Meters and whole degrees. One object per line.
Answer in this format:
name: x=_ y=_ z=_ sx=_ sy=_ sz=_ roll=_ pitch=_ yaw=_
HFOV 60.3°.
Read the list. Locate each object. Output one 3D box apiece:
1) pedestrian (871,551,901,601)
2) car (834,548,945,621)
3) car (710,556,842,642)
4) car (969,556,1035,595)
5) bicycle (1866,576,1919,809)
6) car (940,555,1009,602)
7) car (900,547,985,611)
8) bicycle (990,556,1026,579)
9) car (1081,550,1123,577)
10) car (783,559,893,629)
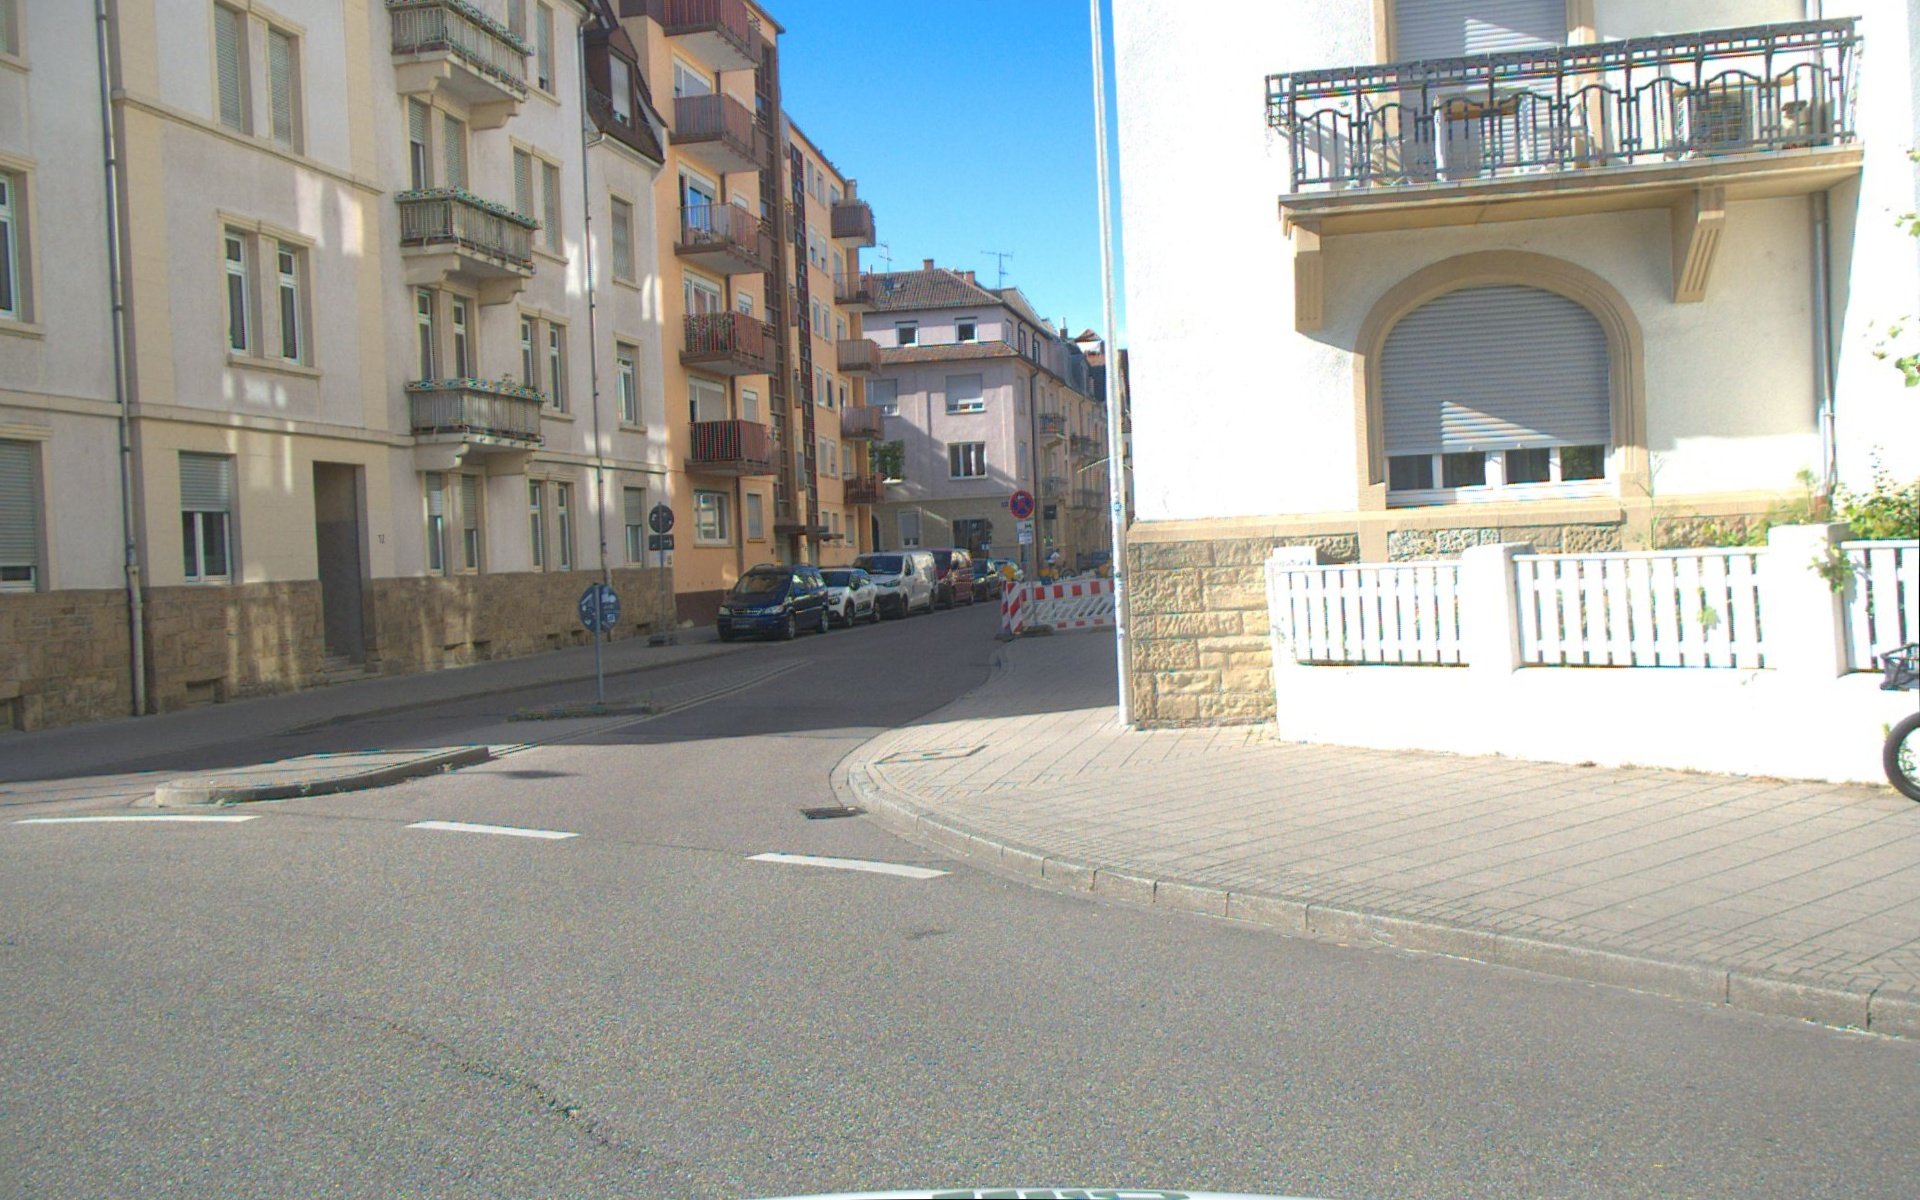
pedestrian: x=-2.812 y=-0.927 z=63.219 sx=0.904 sy=1.849 sz=0.996 roll=-2 pitch=1 yaw=9
car: x=-1.994 y=-0.521 z=48.948 sx=1.933 sy=1.958 sz=5.315 roll=-2 pitch=2 yaw=12
car: x=-4.210 y=-0.072 z=38.551 sx=1.725 sy=1.801 sz=4.299 roll=-2 pitch=2 yaw=12
car: x=1.714 y=-0.987 z=65.964 sx=1.725 sy=1.401 sz=4.483 roll=-2 pitch=2 yaw=13
bicycle: x=5.717 y=0.472 z=7.984 sx=0.758 sy=1.177 sz=2.258 roll=-3 pitch=2 yaw=-34
car: x=0.566 y=-0.826 z=60.585 sx=1.725 sy=1.528 sz=4.004 roll=-3 pitch=1 yaw=11
car: x=-0.524 y=-0.738 z=55.255 sx=1.725 sy=1.958 sz=4.940 roll=-2 pitch=2 yaw=12
bicycle: x=2.552 y=-1.723 z=88.109 sx=1.858 sy=1.155 sz=0.649 roll=-2 pitch=3 yaw=6
car: x=7.986 y=-2.065 z=92.734 sx=1.644 sy=1.451 sz=4.278 roll=0 pitch=1 yaw=14
car: x=-3.178 y=-0.198 z=43.894 sx=1.725 sy=1.649 sz=4.299 roll=-2 pitch=2 yaw=12
